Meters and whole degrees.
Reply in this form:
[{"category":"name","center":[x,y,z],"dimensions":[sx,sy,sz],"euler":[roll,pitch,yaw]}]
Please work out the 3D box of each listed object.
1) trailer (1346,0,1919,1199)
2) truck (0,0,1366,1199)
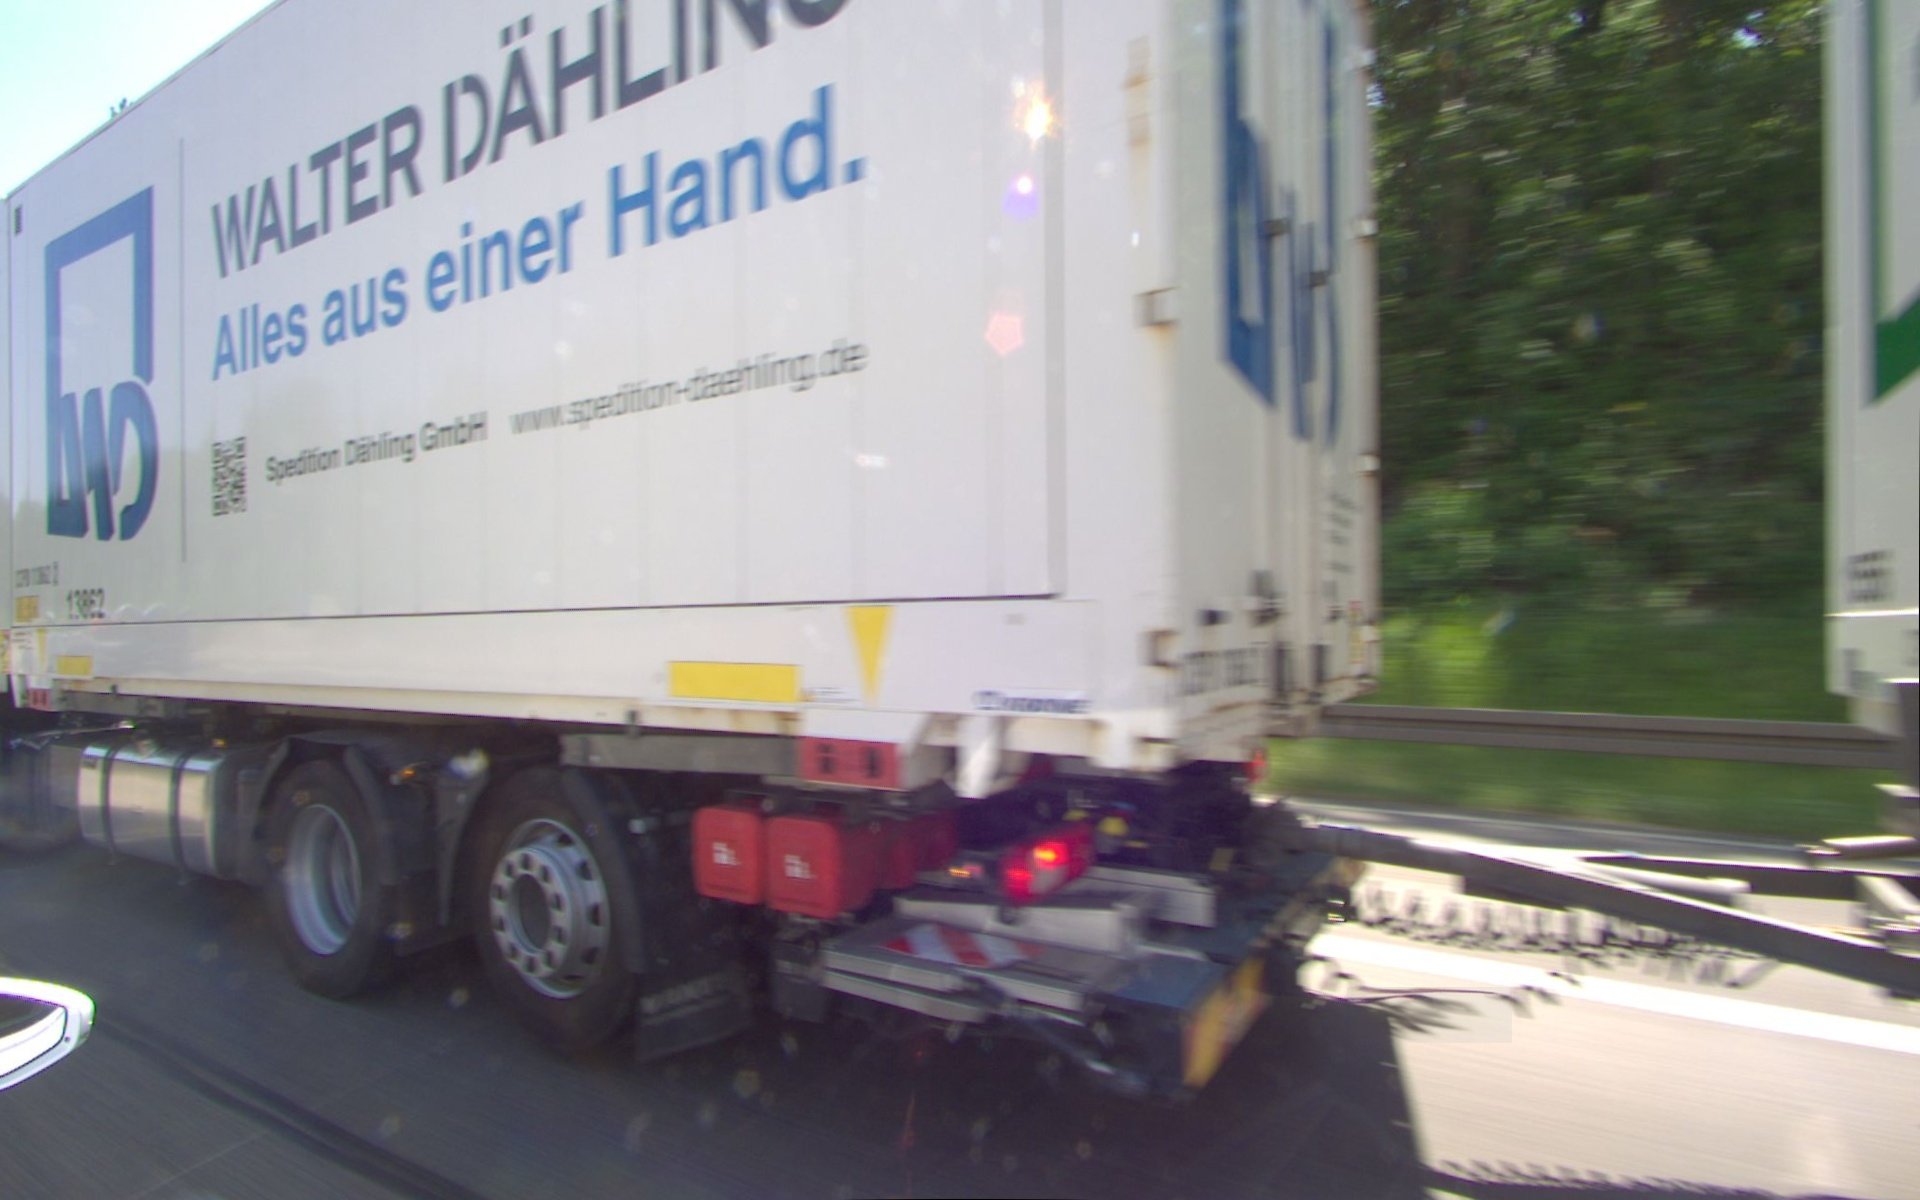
[{"category":"trailer","center":[5.614,-0.627,0.309],"dimensions":[9.919,4.230,2.675],"euler":[0,-1,32]},{"category":"truck","center":[-3.383,-0.509,6.032],"dimensions":[10.473,4.112,2.675],"euler":[0,-1,33]}]
